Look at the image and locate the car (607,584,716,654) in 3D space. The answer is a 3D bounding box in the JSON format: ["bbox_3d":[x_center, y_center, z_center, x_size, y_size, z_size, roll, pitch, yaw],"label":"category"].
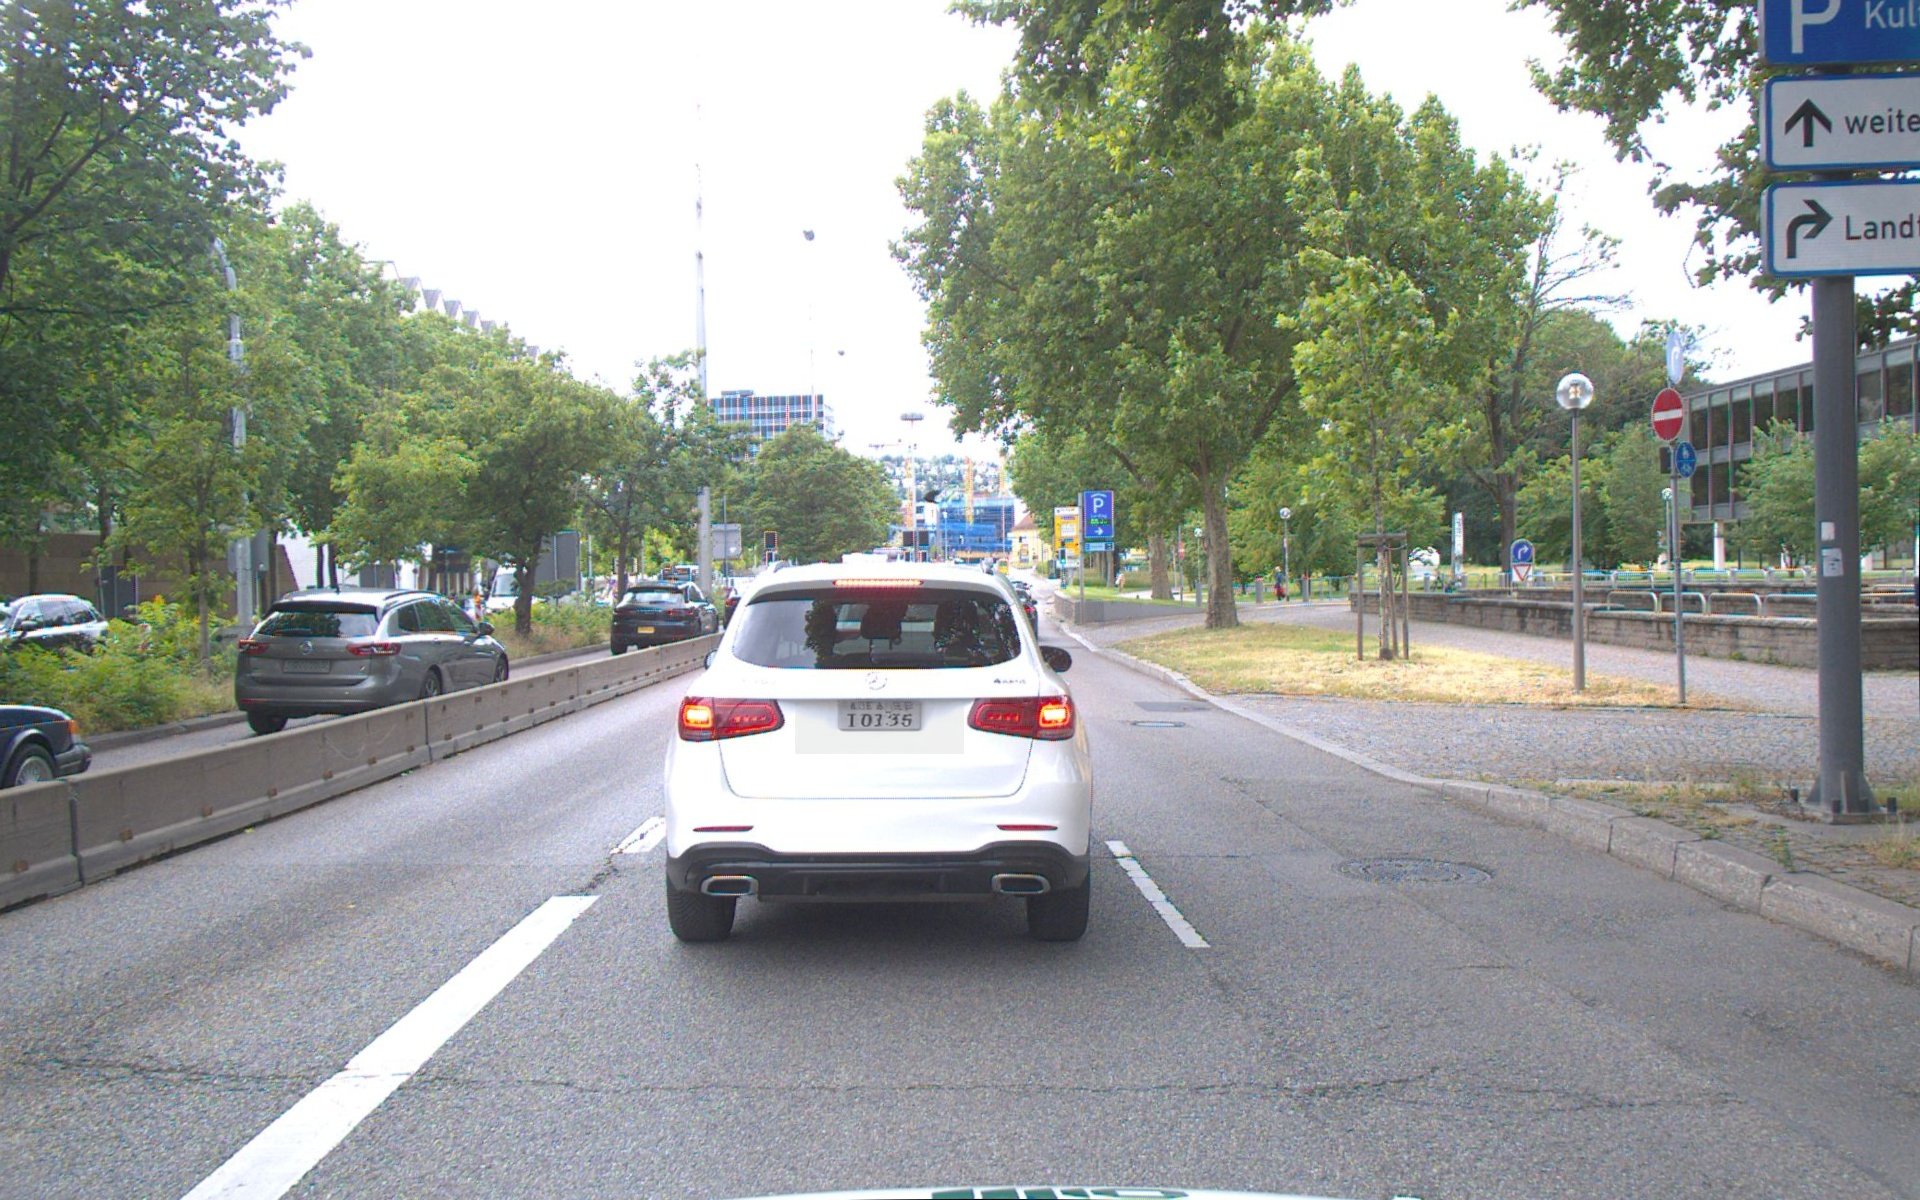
[{"bbox_3d":[-6.645,0.381,37.217,1.740,1.445,4.000,-1,1,-1],"label":"car"}]

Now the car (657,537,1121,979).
[{"bbox_3d":[-0.371,0.577,8.579,1.752,1.653,4.435,-1,1,-3],"label":"car"}]

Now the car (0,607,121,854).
[{"bbox_3d":[-6.311,0.786,8.580,1.644,1.390,4.542,-1,1,-1],"label":"car"}]

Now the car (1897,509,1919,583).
[{"bbox_3d":[32.697,-1.720,51.202,5.981,2.300,2.402,-1,0,1],"label":"car"}]

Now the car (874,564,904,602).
[{"bbox_3d":[-4.899,-1.169,114.847,1.953,2.518,3.999,-1,1,-2],"label":"car"}]

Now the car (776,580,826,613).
[{"bbox_3d":[-6.673,-0.159,69.605,1.624,1.342,3.548,0,0,2],"label":"car"}]

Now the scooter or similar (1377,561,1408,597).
[{"bbox_3d":[15.872,-0.753,60.707,0.622,1.267,2.226,1,0,2],"label":"scooter or similar"}]

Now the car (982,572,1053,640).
[{"bbox_3d":[1.581,0.135,46.776,1.788,1.783,3.999,-1,1,-1],"label":"car"}]

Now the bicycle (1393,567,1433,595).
[{"bbox_3d":[18.376,-0.764,67.086,0.934,1.082,2.335,1,0,-1],"label":"bicycle"}]

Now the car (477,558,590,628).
[{"bbox_3d":[-13.165,-0.243,51.437,2.072,2.003,5.578,-1,1,-1],"label":"car"}]

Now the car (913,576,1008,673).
[{"bbox_3d":[-0.037,0.411,30.269,1.625,1.668,3.546,0,0,-2],"label":"car"}]

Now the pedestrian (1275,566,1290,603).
[{"bbox_3d":[14.719,-0.707,75.468,0.625,1.639,0.663,-1,0,7],"label":"pedestrian"}]

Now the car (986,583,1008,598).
[{"bbox_3d":[3.345,-0.837,148.232,1.907,1.342,4.017,0,0,0],"label":"car"}]

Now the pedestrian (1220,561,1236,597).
[{"bbox_3d":[13.328,-1.024,82.164,0.743,1.755,0.699,-1,0,7],"label":"pedestrian"}]

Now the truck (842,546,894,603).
[{"bbox_3d":[-4.829,-1.330,87.877,2.568,2.911,7.076,0,1,-2],"label":"truck"}]

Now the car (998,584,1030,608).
[{"bbox_3d":[3.309,-0.248,102.265,1.907,1.453,4.017,0,0,0],"label":"car"}]

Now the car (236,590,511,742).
[{"bbox_3d":[-6.204,0.631,17.963,1.627,1.461,3.959,0,0,-1],"label":"car"}]

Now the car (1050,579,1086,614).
[{"bbox_3d":[6.429,-0.206,98.799,1.952,2.049,4.000,0,0,0],"label":"car"}]

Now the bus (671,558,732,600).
[{"bbox_3d":[-21.635,-1.729,139.310,3.595,3.261,14.264,-1,1,-3],"label":"bus"}]

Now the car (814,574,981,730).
[{"bbox_3d":[-0.818,0.536,19.377,1.761,1.636,3.751,0,0,-5],"label":"car"}]

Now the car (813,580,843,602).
[{"bbox_3d":[-8.451,-0.566,106.160,1.625,1.342,3.547,0,0,0],"label":"car"}]

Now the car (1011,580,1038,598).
[{"bbox_3d":[4.883,-0.840,125.856,1.907,1.342,4.017,0,0,0],"label":"car"}]

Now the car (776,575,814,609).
[{"bbox_3d":[-7.915,-0.405,79.687,1.626,1.539,3.545,-1,1,-3],"label":"car"}]

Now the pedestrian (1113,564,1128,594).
[{"bbox_3d":[10.980,-1.437,113.353,0.746,2.049,0.696,-1,0,35],"label":"pedestrian"}]

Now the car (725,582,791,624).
[{"bbox_3d":[-6.647,0.072,54.785,1.624,1.342,3.548,0,0,2],"label":"car"}]

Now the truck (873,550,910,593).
[{"bbox_3d":[-4.997,-2.068,121.418,2.637,3.044,5.636,1,0,-2],"label":"truck"}]

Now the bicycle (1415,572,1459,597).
[{"bbox_3d":[19.436,-0.632,67.402,0.934,0.992,2.786,1,0,-1],"label":"bicycle"}]

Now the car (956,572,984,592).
[{"bbox_3d":[0.674,-1.233,115.573,1.907,1.342,4.017,0,0,0],"label":"car"}]

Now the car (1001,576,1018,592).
[{"bbox_3d":[5.635,-1.851,189.330,1.722,1.698,4.168,-1,1,0],"label":"car"}]
